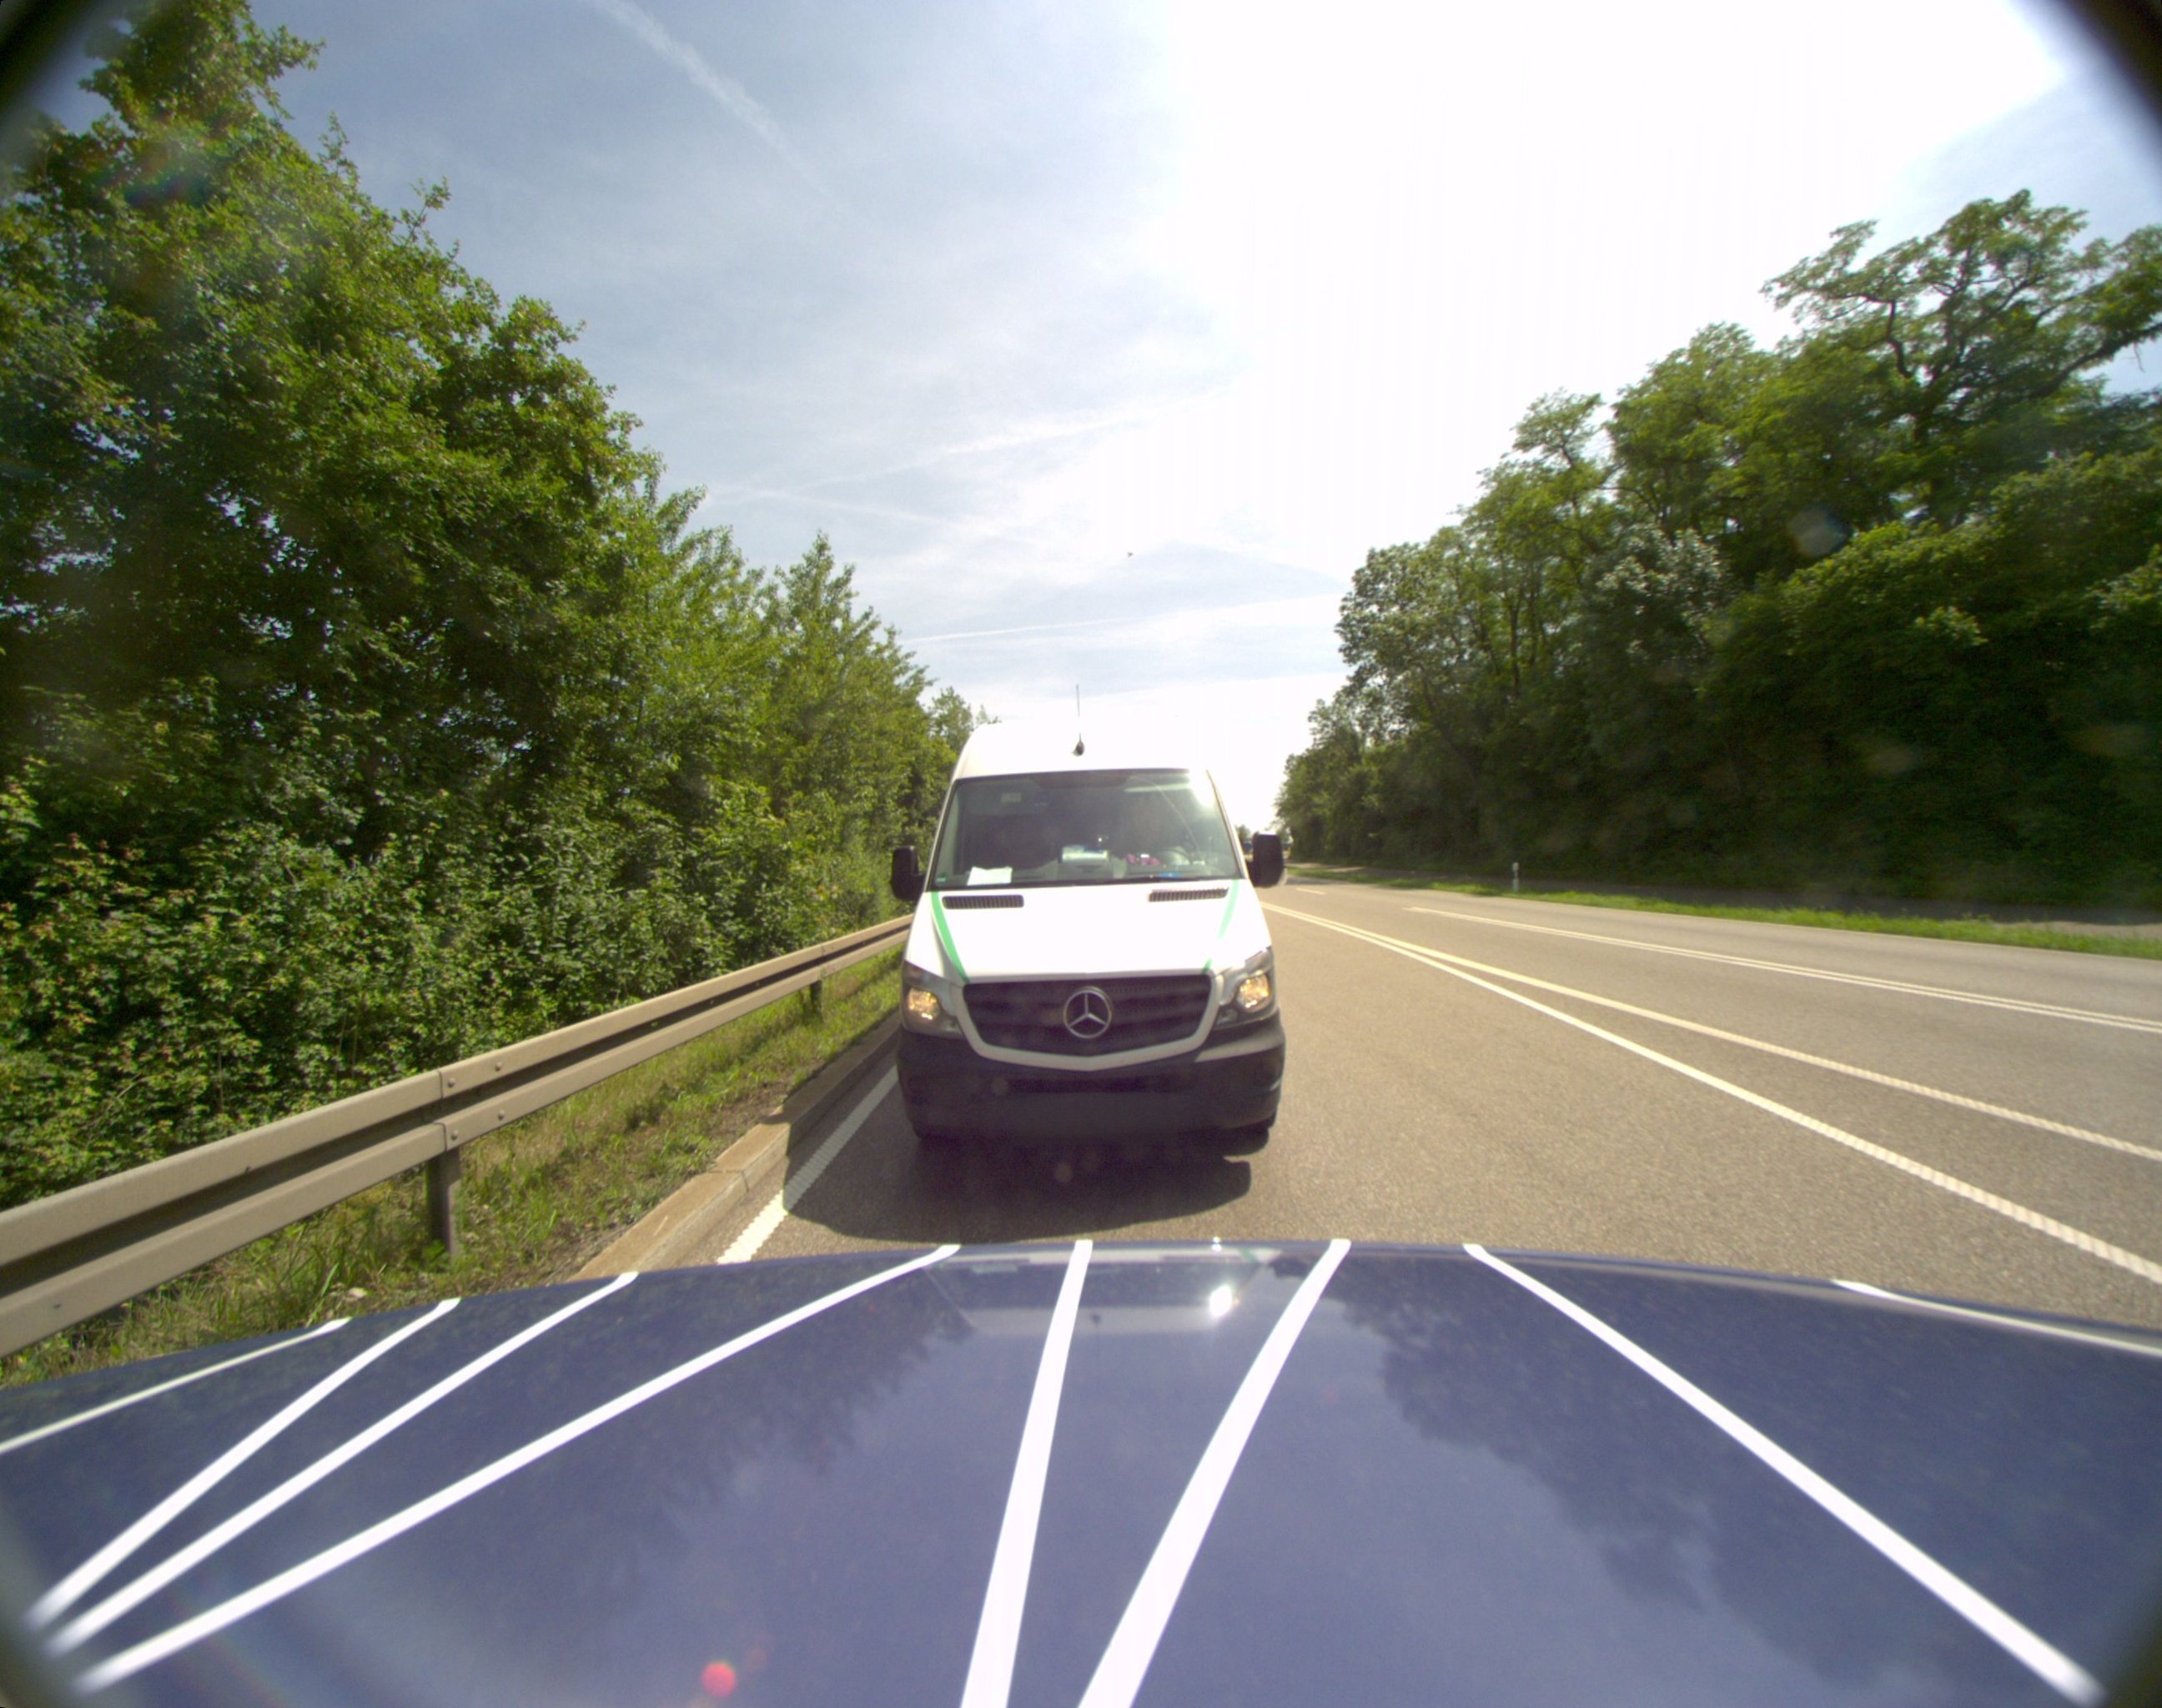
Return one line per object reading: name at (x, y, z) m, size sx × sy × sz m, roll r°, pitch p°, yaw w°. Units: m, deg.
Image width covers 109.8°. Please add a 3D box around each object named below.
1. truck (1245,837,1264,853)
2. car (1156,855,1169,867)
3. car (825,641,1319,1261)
truck at (51.128, -2.524, 223.369) m, size 4.392 × 4.433 × 14.729 m, roll -2°, pitch 0°, yaw 17°
car at (13.658, 1.187, 126.723) m, size 1.765 × 1.849 × 3.812 m, roll -2°, pitch 1°, yaw 11°
car at (0.041, 0.413, 5.764) m, size 1.958 × 2.502 × 5.267 m, roll -2°, pitch 0°, yaw 2°
